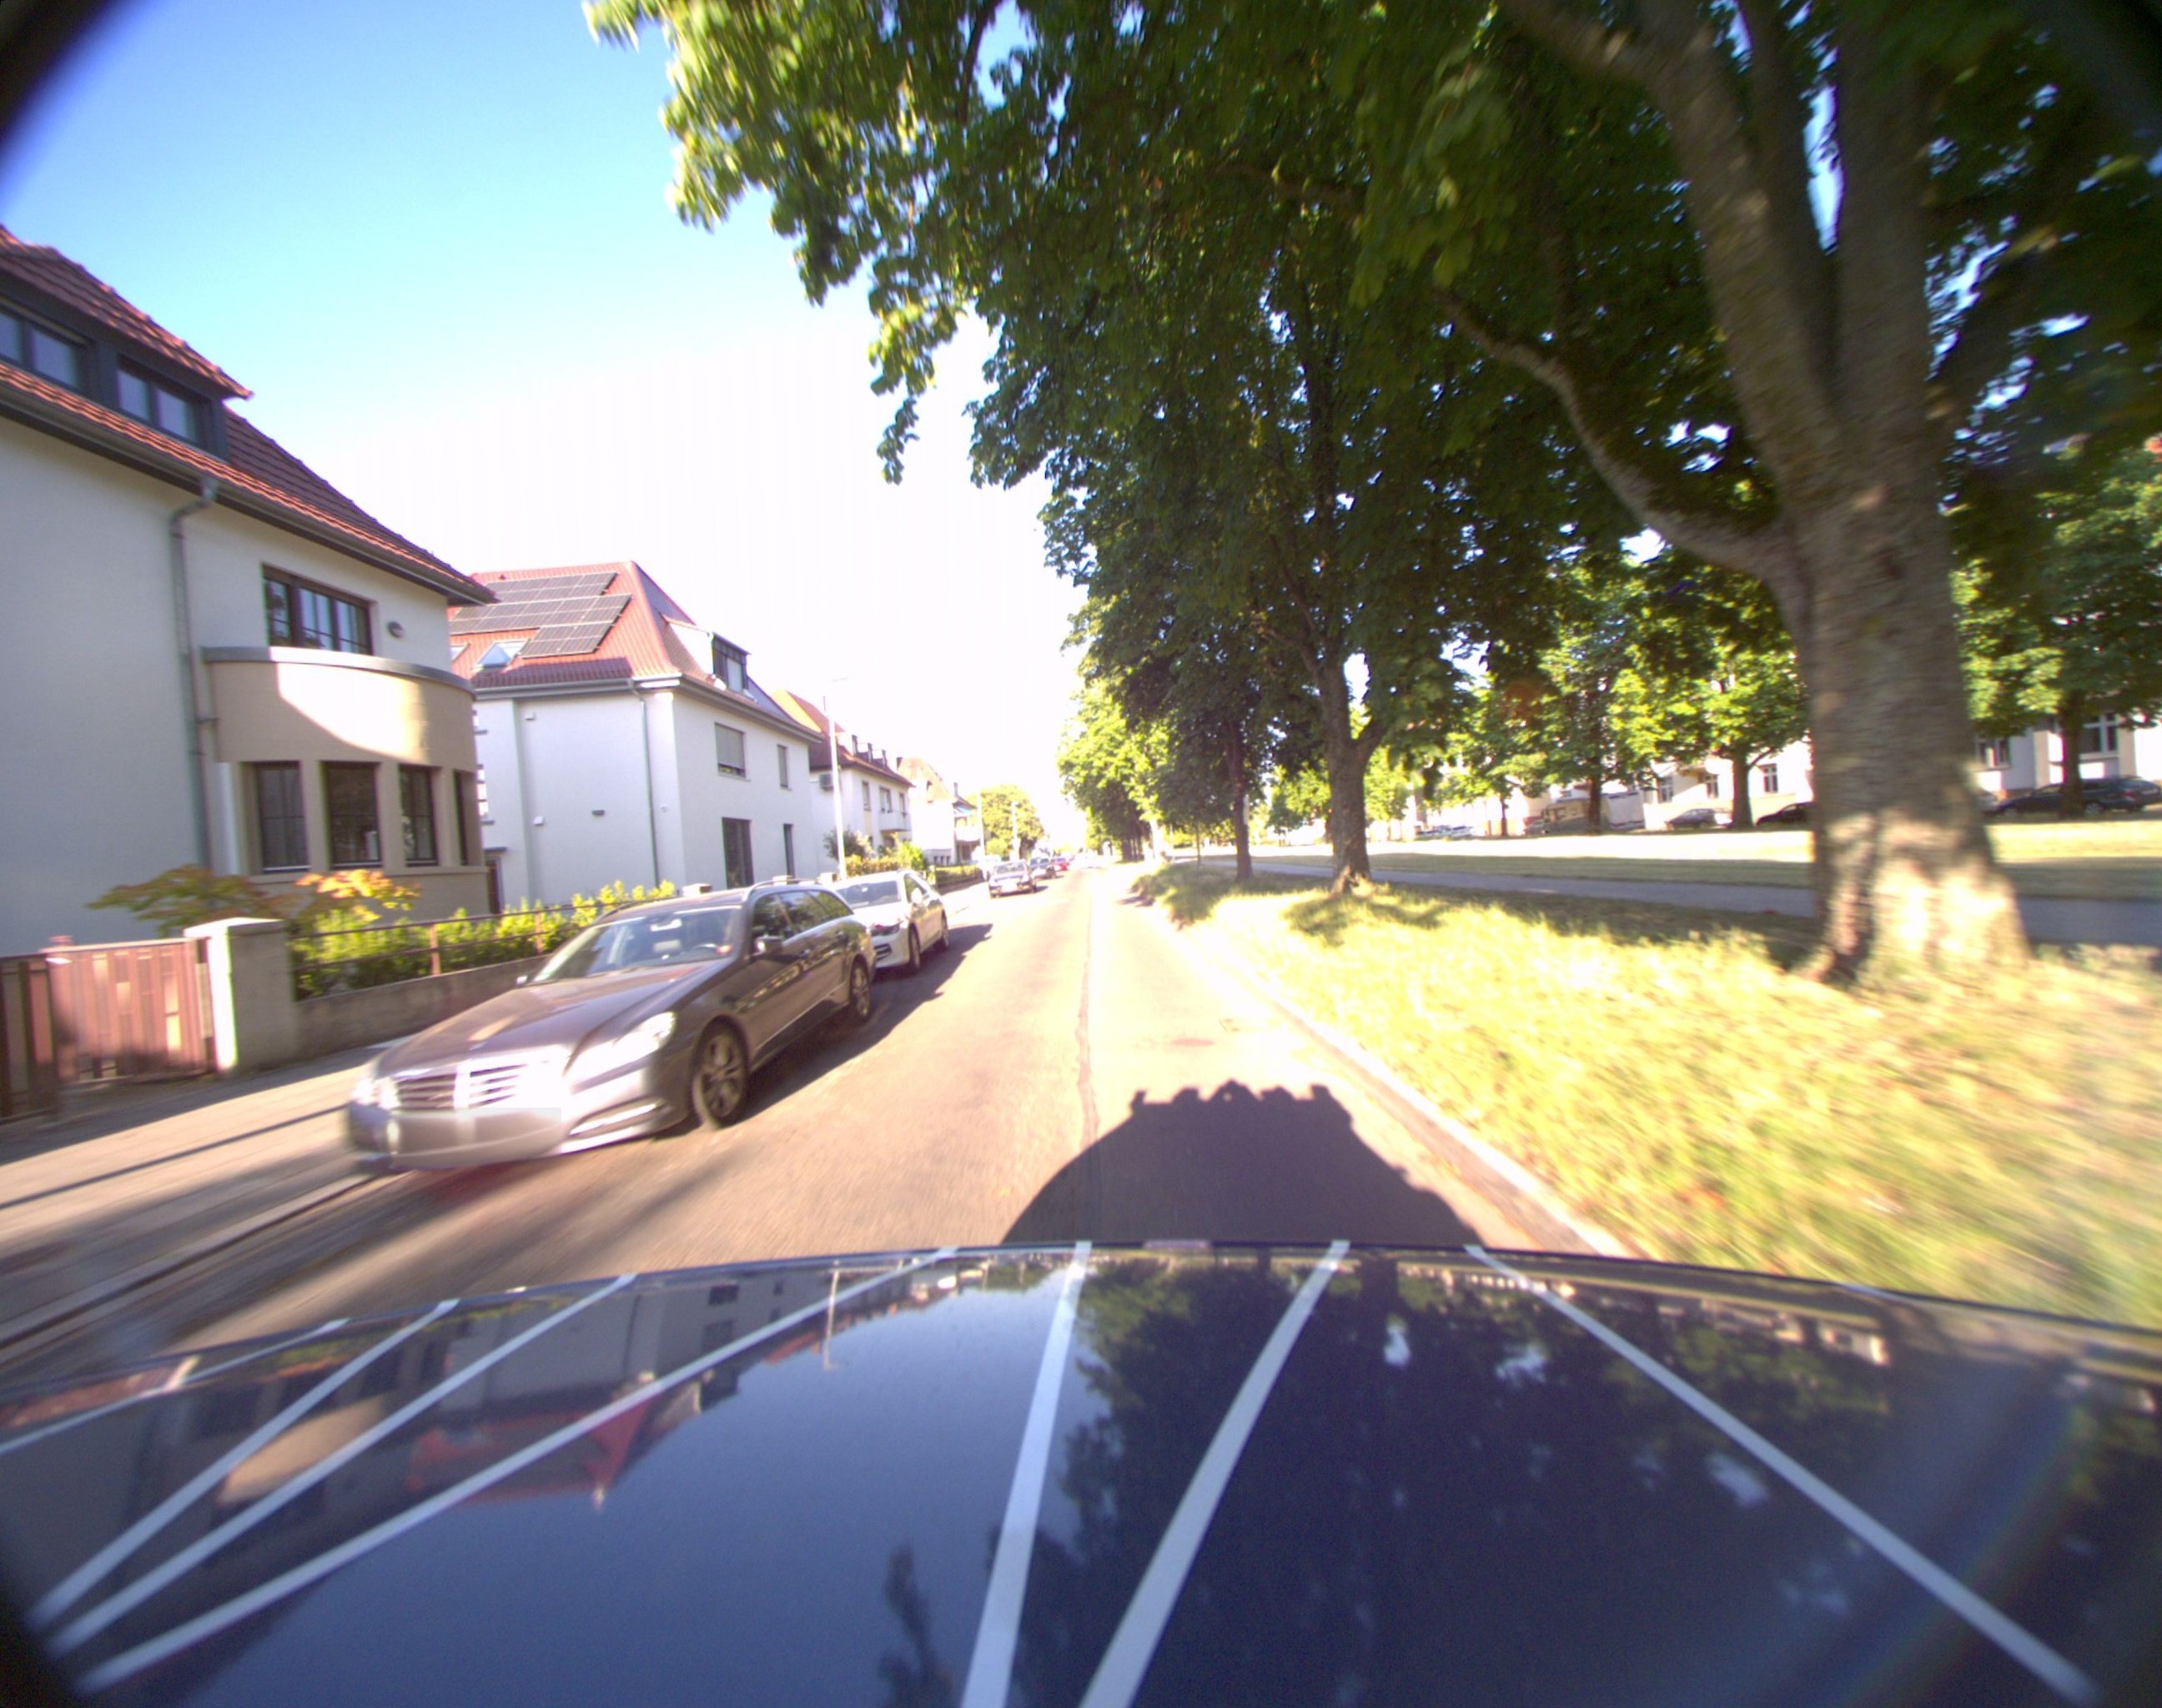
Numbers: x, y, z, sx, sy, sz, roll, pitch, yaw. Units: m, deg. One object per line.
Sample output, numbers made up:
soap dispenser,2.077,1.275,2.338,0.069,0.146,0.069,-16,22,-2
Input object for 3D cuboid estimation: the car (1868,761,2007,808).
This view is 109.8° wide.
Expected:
car,39.952,-3.177,35.618,1.998,1.725,4.000,-5,1,3

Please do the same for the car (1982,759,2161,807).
car,39.910,-2.797,30.724,1.998,1.421,4.169,-5,0,3

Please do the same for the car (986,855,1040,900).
car,-2.793,0.928,32.050,1.784,1.491,4.396,-8,1,-1

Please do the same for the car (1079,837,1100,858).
car,0.895,-0.756,81.222,1.998,2.002,3.999,-6,1,1

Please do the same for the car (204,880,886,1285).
car,-3.090,1.156,5.851,1.784,1.454,4.593,-8,1,1

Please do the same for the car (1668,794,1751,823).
car,40.340,-2.904,48.903,1.998,1.455,4.000,-5,0,1

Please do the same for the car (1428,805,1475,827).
car,34.590,-3.506,71.149,1.998,1.680,4.875,-5,1,1

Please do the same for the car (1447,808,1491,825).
car,40.621,-3.919,79.712,1.999,1.445,4.874,-5,1,-1

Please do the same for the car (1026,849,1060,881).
car,-2.456,0.674,49.634,1.862,1.710,4.466,-7,1,-1

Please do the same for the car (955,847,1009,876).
car,-7.900,0.564,60.850,3.998,1.917,1.999,-5,1,-3

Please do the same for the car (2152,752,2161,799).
car,39.744,-2.874,25.242,1.999,1.643,4.428,-5,1,0

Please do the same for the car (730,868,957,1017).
car,-3.344,1.145,11.790,1.999,1.455,4.548,-9,1,-2

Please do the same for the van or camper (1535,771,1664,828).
van or camper,34.625,-3.542,51.239,3.262,3.093,7.896,-5,1,1

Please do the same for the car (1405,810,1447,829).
car,34.726,-3.452,76.665,1.998,1.680,4.875,-5,1,1

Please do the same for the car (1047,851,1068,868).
car,-2.255,0.521,75.390,1.824,1.486,4.223,-5,1,0
